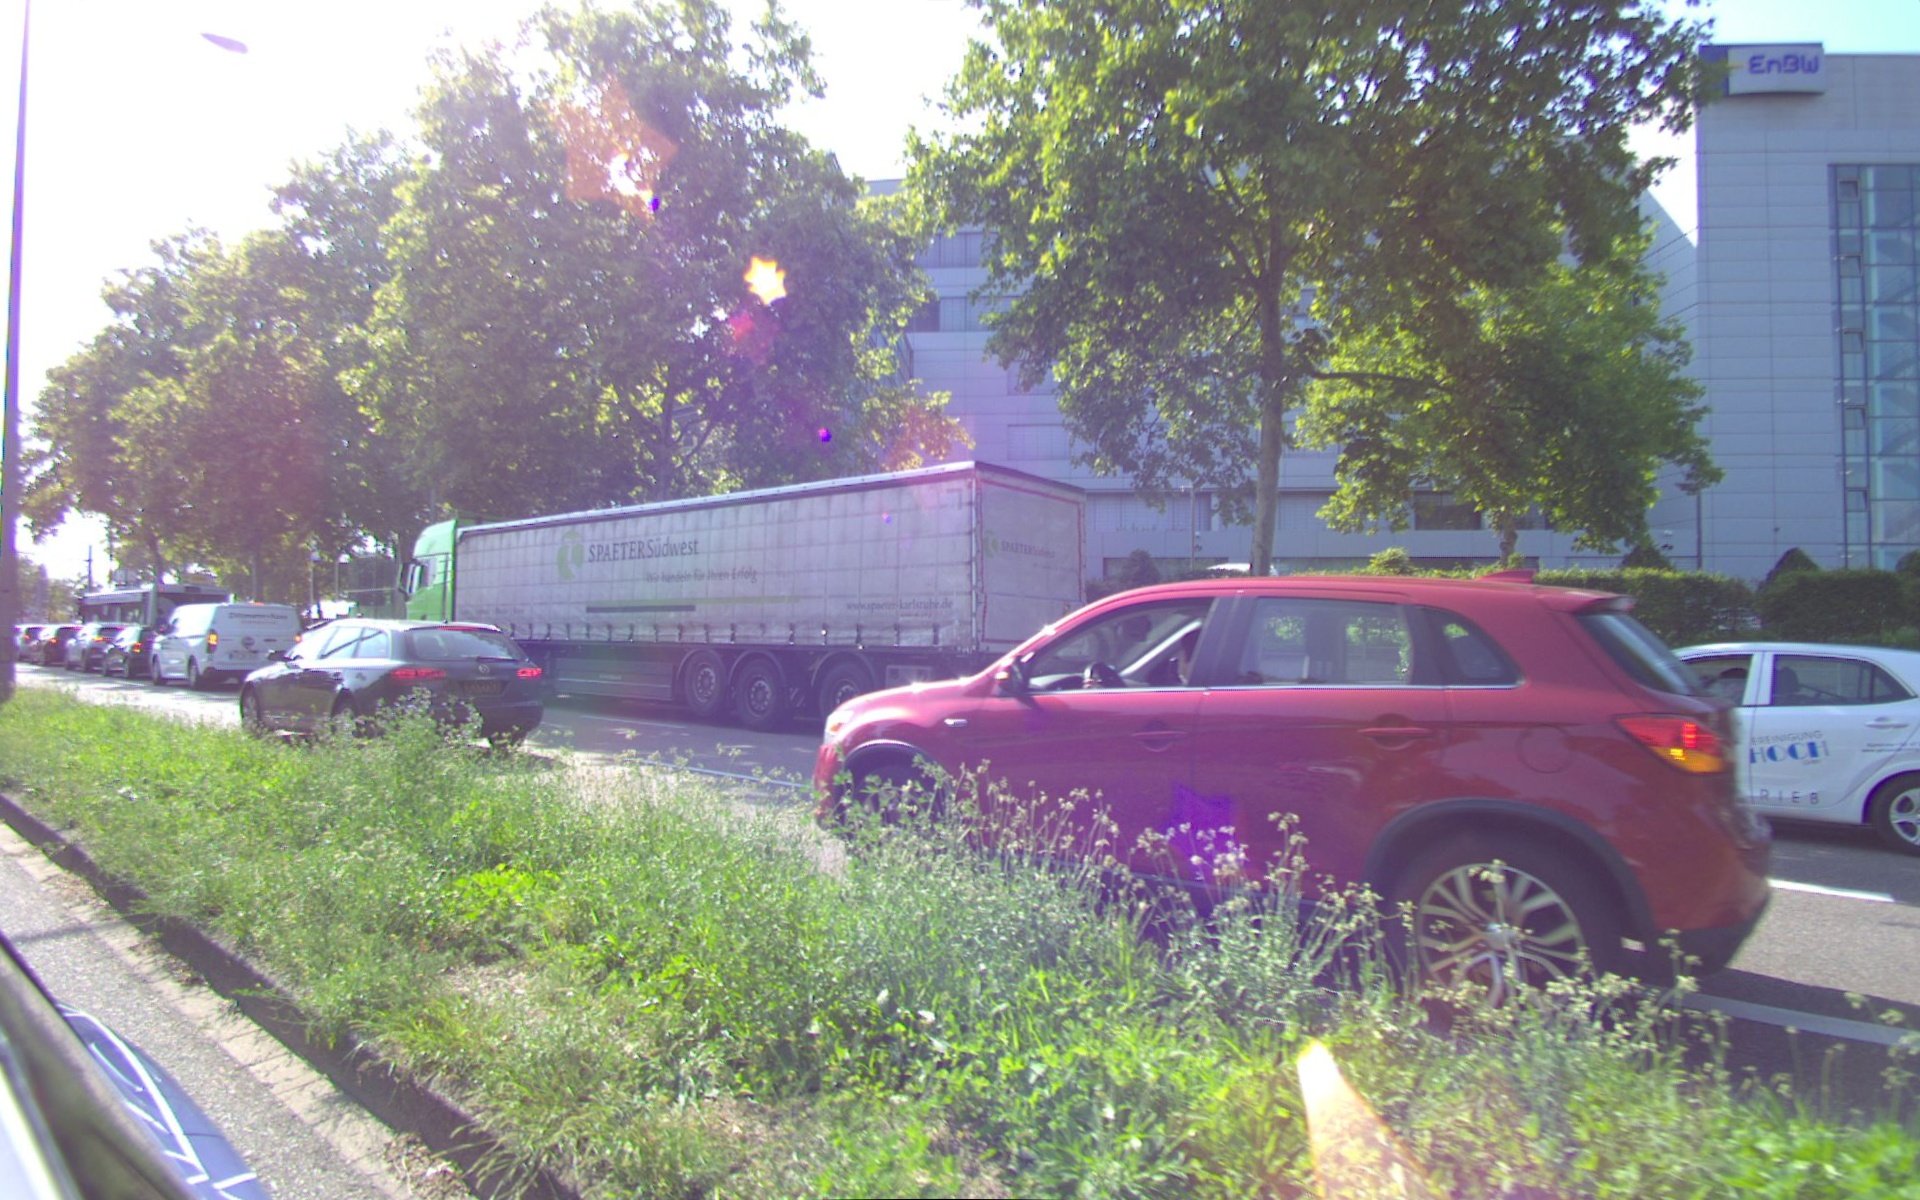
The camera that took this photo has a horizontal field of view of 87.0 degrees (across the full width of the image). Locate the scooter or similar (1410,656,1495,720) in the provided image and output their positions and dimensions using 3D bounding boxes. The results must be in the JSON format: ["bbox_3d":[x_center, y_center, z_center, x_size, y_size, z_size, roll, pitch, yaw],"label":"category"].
[{"bbox_3d":[9.445,1.667,19.431,1.380,1.136,0.503,-1,-2,41],"label":"scooter or similar"}]

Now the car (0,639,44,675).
[{"bbox_3d":[-41.476,2.460,44.089,3.996,1.453,1.689,-1,-4,39],"label":"car"}]

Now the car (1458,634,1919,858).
[{"bbox_3d":[6.276,1.041,8.085,3.828,1.490,1.728,-1,-3,40],"label":"car"}]

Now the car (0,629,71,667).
[{"bbox_3d":[-37.649,1.976,41.080,3.817,1.478,1.689,-3,-5,39],"label":"car"}]

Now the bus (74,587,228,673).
[{"bbox_3d":[-33.480,1.198,41.623,12.301,3.103,2.564,-1,-2,40],"label":"bus"}]

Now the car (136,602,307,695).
[{"bbox_3d":[-17.440,1.110,23.800,5.030,1.968,1.974,-1,-3,39],"label":"car"}]

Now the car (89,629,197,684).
[{"bbox_3d":[-22.704,1.543,28.076,3.855,1.409,1.598,-1,-4,41],"label":"car"}]

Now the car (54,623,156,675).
[{"bbox_3d":[-27.115,1.541,32.050,4.136,1.540,1.678,-1,-4,39],"label":"car"}]

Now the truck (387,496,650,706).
[{"bbox_3d":[-9.446,0.131,21.403,5.885,3.849,2.582,-1,-4,39],"label":"truck"}]

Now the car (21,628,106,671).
[{"bbox_3d":[-32.265,1.763,36.409,4.186,1.444,1.630,-1,-4,40],"label":"car"}]

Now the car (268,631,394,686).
[{"bbox_3d":[-17.847,1.621,28.641,4.475,1.422,1.631,-1,-4,39],"label":"car"}]

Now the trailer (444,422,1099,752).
[{"bbox_3d":[-4.262,0.015,17.190,13.797,3.851,2.607,-1,-4,39],"label":"trailer"}]

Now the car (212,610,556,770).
[{"bbox_3d":[-6.677,0.920,11.534,4.580,1.490,1.730,-1,-4,38],"label":"car"}]

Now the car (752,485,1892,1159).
[{"bbox_3d":[1.235,0.632,4.844,4.582,1.737,1.934,-1,-2,39],"label":"car"}]

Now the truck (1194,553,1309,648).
[{"bbox_3d":[9.552,0.081,33.774,2.208,2.883,5.902,0,-1,1],"label":"truck"}]
